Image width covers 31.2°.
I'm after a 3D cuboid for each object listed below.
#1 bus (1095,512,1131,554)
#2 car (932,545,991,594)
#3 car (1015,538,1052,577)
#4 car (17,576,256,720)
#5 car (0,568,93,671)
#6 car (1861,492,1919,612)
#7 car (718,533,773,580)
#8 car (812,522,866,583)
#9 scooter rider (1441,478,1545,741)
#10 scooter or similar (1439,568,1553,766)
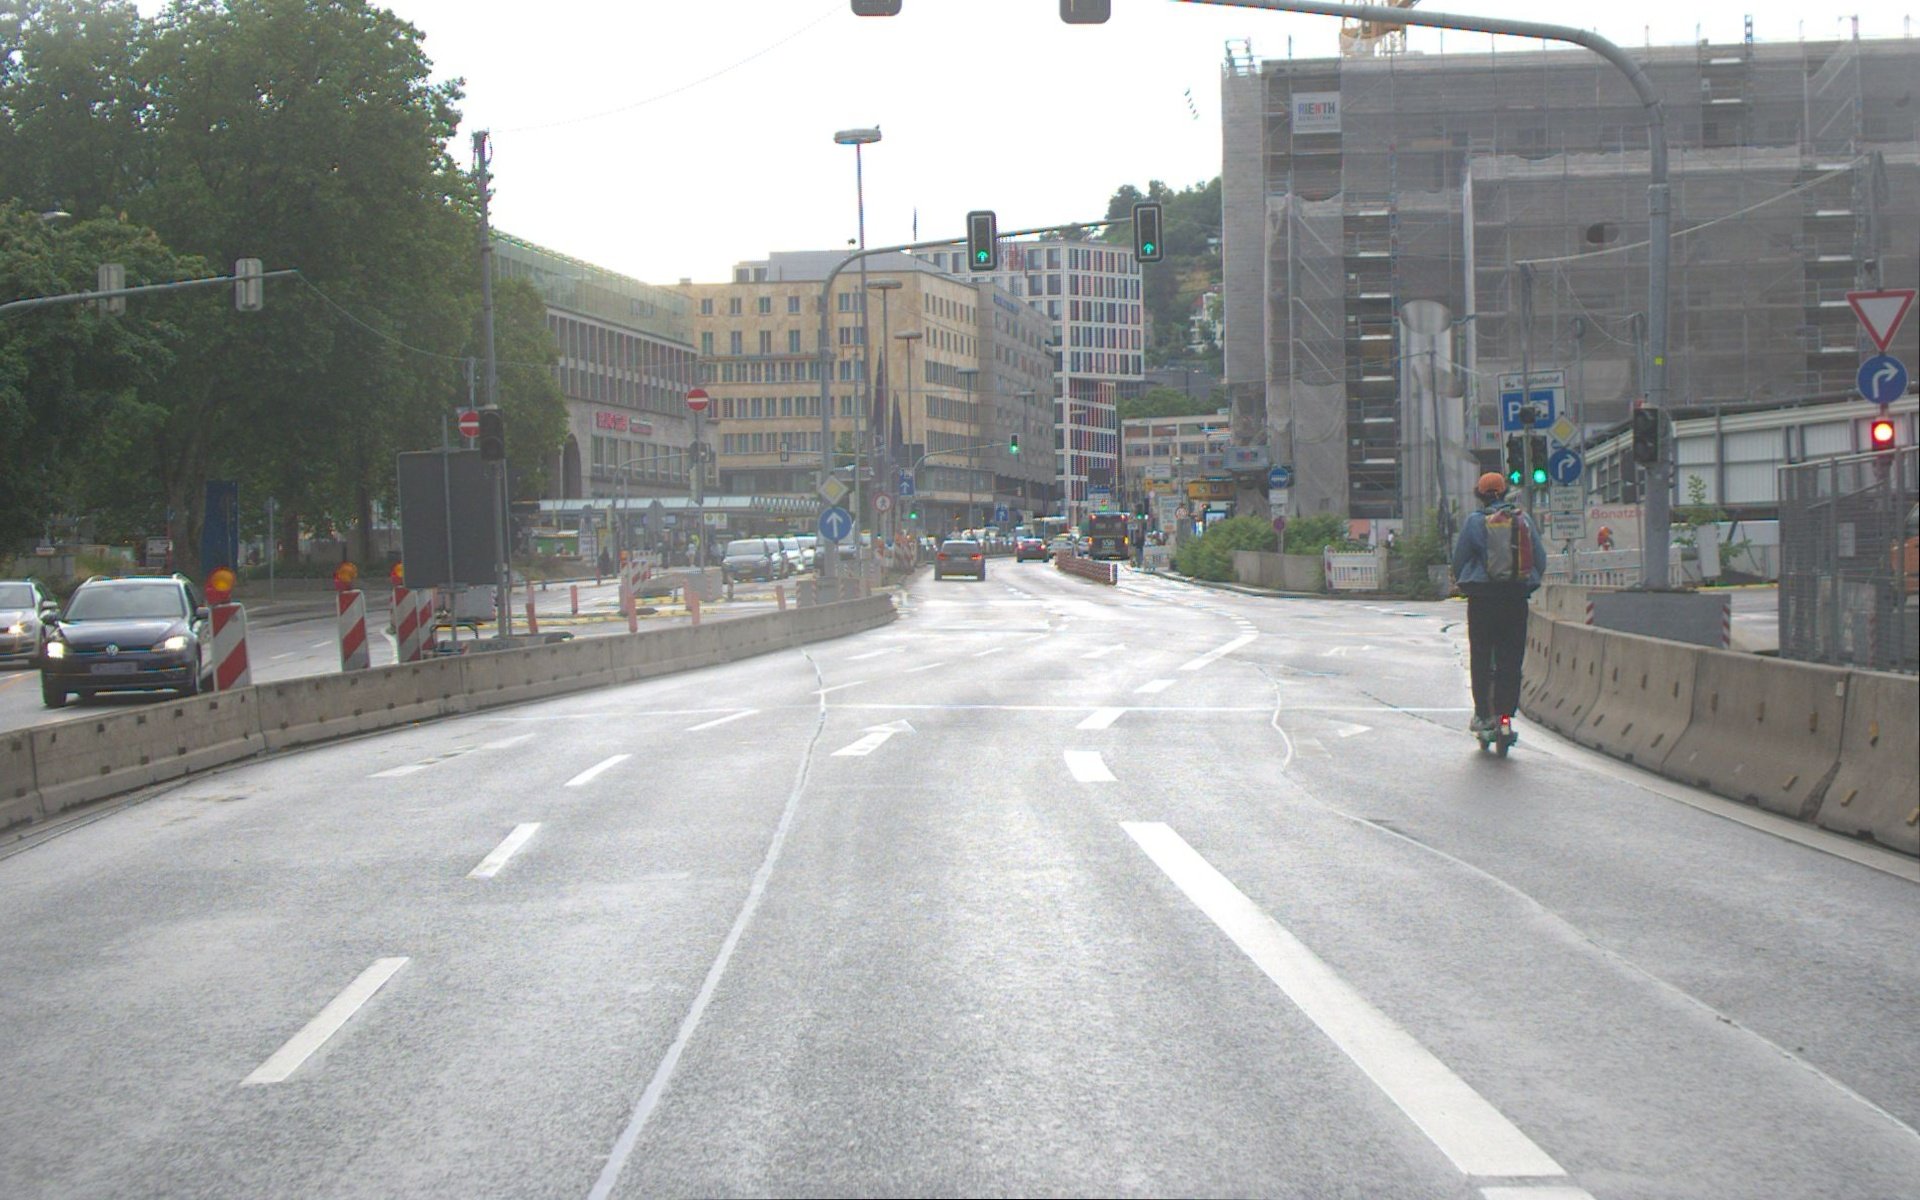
[{"bbox_3d":[9.936,-4.328,222.922,1.994,2.423,3.999,-3,-1,6],"label":"bus"},{"bbox_3d":[0.035,-1.090,123.179,1.902,1.523,4.177,-3,-1,-2],"label":"car"},{"bbox_3d":[4.331,-2.489,202.294,1.993,2.007,3.999,-3,-1,2],"label":"car"},{"bbox_3d":[-9.776,0.607,41.144,1.993,1.536,4.580,-3,-1,-4],"label":"car"},{"bbox_3d":[-15.654,0.363,56.342,1.993,1.536,4.445,-3,-1,-4],"label":"car"},{"bbox_3d":[16.624,-0.796,56.438,1.911,1.968,5.164,-1,1,-5],"label":"car"},{"bbox_3d":[-8.092,-1.634,129.863,1.902,1.523,4.177,-3,-1,-2],"label":"car"},{"bbox_3d":[-4.588,-1.785,130.367,1.902,2.075,4.177,-3,-1,-2],"label":"car"},{"bbox_3d":[3.689,0.061,23.833,0.597,1.779,0.997,-1,1,3],"label":"scooter rider"},{"bbox_3d":[3.703,0.441,23.848,0.597,1.314,1.667,-1,1,3],"label":"scooter or similar"}]
